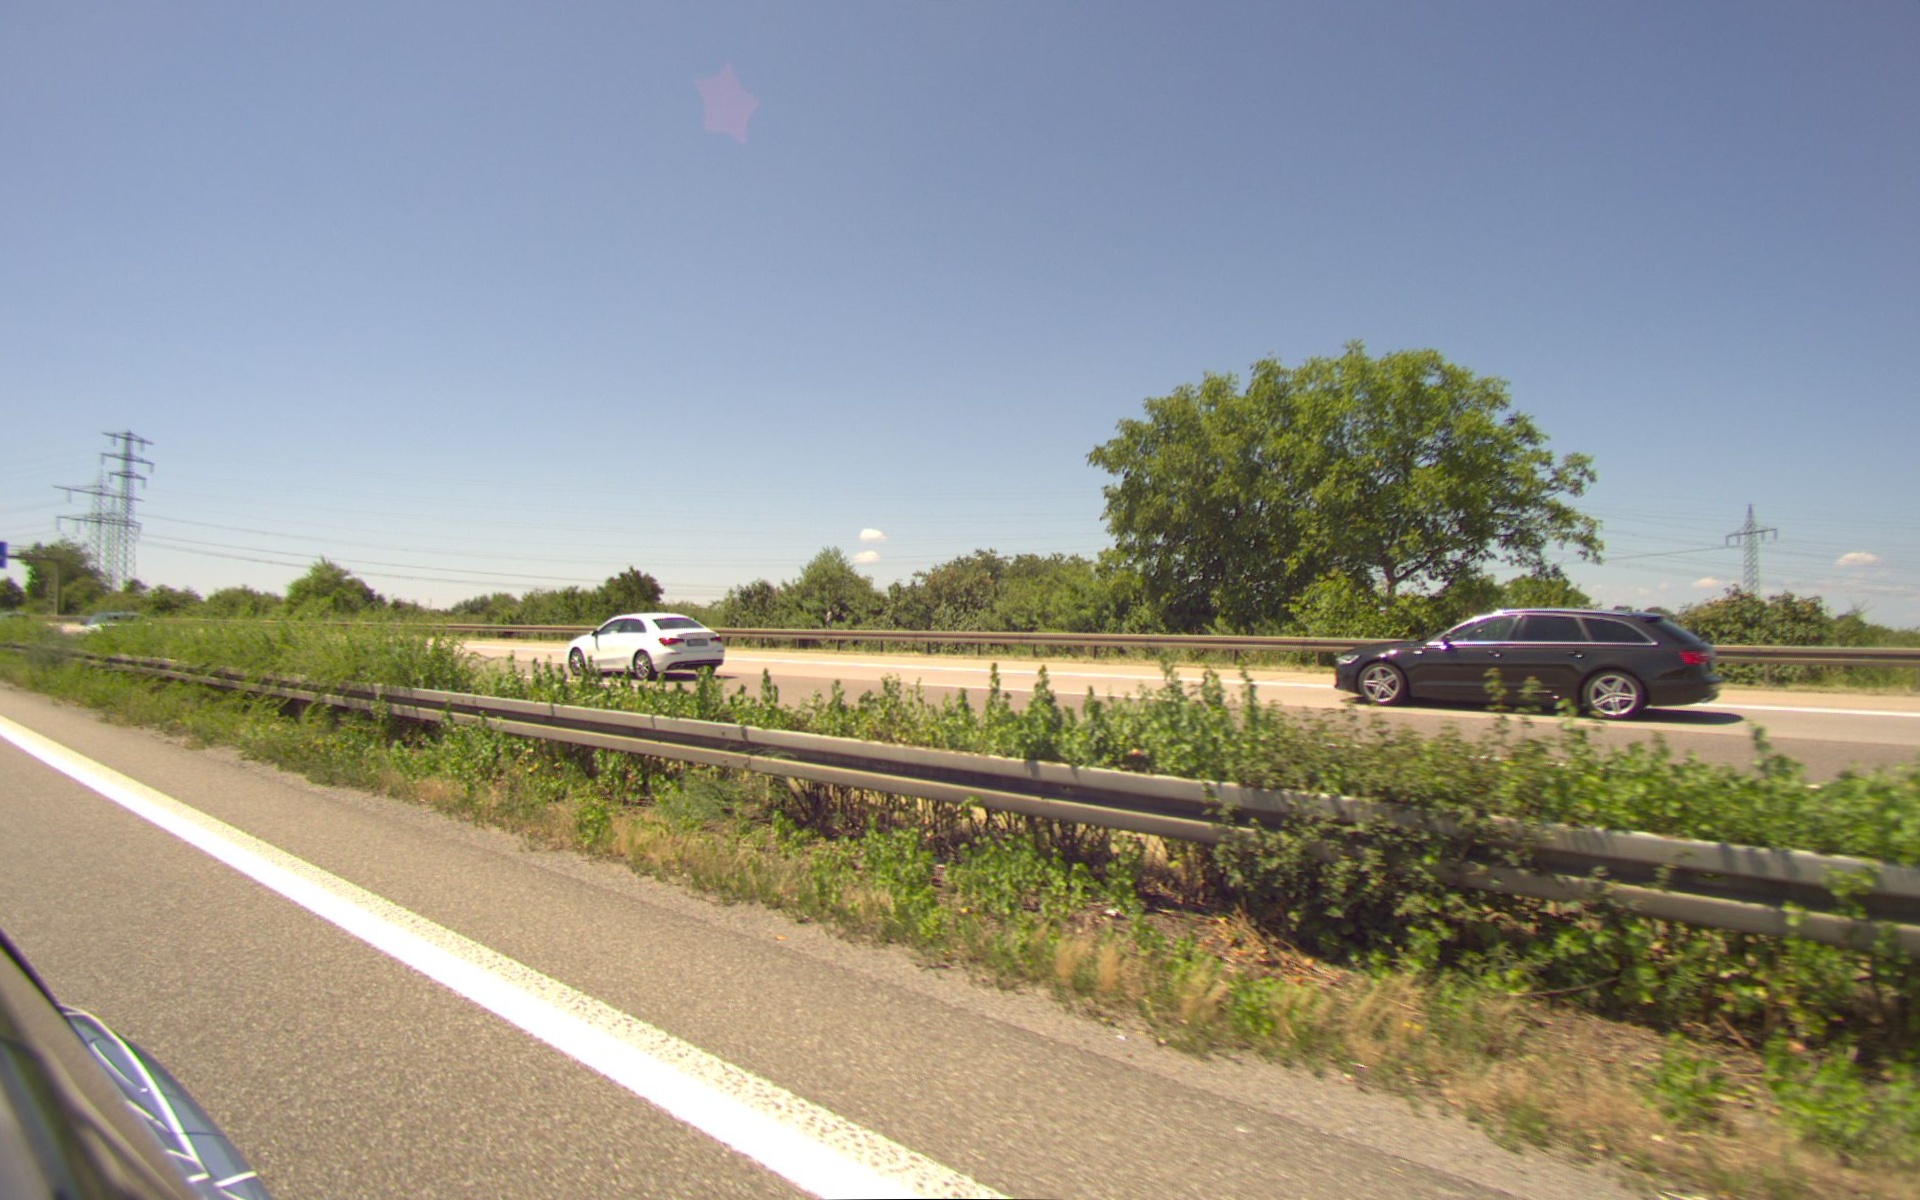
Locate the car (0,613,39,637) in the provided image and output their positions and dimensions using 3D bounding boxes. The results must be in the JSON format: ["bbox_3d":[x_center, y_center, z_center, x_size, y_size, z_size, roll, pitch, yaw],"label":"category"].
[{"bbox_3d":[-69.211,1.786,74.123,4.498,1.701,1.974,0,-1,39],"label":"car"}]

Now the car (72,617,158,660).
[{"bbox_3d":[-33.650,1.494,40.265,4.400,1.572,1.792,0,-1,39],"label":"car"}]

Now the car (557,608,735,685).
[{"bbox_3d":[-7.137,1.006,22.806,4.373,1.572,1.685,-2,-1,39],"label":"car"}]

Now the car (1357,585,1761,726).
[{"bbox_3d":[8.247,0.701,14.213,4.653,1.674,1.764,-1,-1,40],"label":"car"}]
